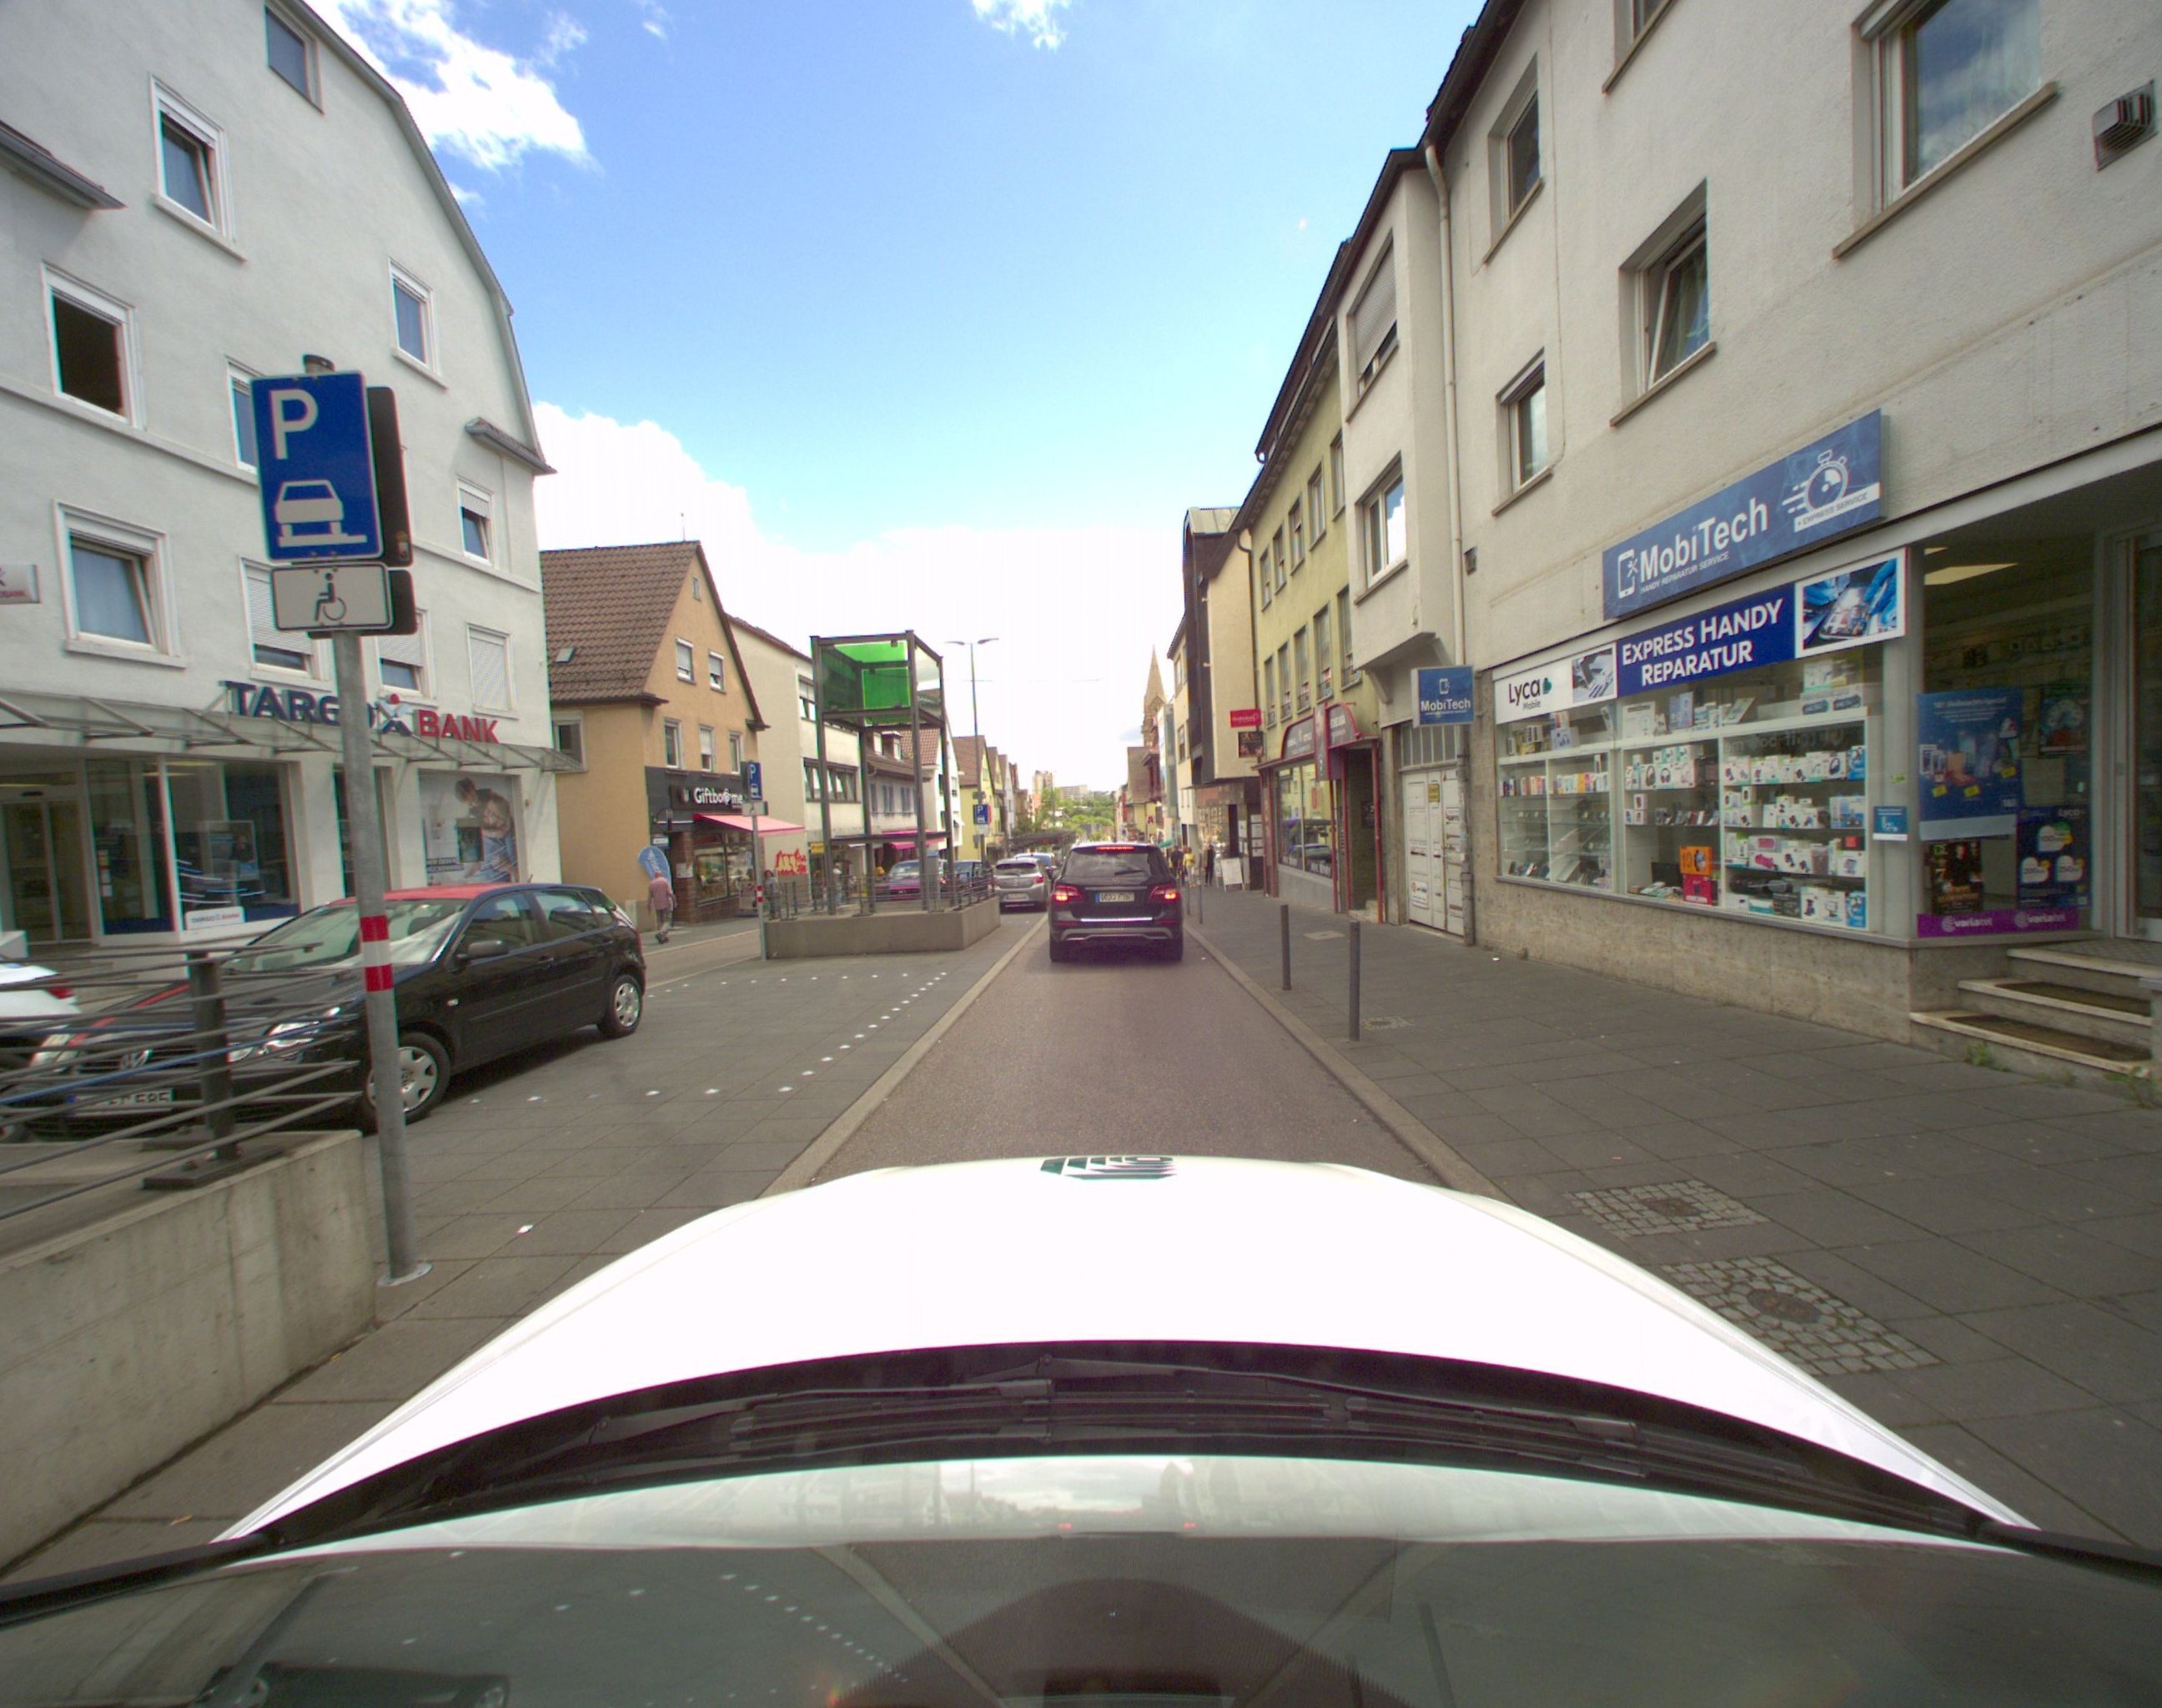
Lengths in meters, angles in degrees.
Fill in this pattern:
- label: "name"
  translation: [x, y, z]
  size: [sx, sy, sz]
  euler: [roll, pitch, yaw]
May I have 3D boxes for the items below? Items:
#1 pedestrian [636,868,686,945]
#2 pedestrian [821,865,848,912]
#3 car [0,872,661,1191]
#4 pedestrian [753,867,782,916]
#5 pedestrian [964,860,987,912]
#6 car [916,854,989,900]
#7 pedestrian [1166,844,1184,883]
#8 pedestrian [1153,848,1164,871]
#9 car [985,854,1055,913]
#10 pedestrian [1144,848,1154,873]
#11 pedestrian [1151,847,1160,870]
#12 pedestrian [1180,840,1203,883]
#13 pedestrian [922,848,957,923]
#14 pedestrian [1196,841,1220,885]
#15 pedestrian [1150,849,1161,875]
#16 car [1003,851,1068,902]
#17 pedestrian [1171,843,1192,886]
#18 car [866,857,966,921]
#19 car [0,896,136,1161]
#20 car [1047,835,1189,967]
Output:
- label: "pedestrian"
  translation: [-9.611, 1.181, 18.644]
  size: [0.636, 1.689, 0.829]
  euler: [-2, 0, 6]
- label: "pedestrian"
  translation: [-9.088, 1.259, 30.053]
  size: [0.638, 1.689, 0.670]
  euler: [-2, -1, 41]
- label: "car"
  translation: [-4.865, 0.929, 6.006]
  size: [1.564, 1.475, 3.853]
  euler: [-2, 0, -1]
- label: "pedestrian"
  translation: [-10.389, 1.241, 27.045]
  size: [0.563, 1.573, 0.717]
  euler: [-4, 0, 1]
- label: "pedestrian"
  translation: [-3.014, 0.918, 23.262]
  size: [0.464, 1.431, 0.492]
  euler: [-4, 0, 1]
- label: "car"
  translation: [-4.525, 0.770, 29.179]
  size: [1.731, 1.475, 3.888]
  euler: [0, 1, 4]
- label: "pedestrian"
  translation: [4.322, 0.428, 37.460]
  size: [0.708, 1.753, 0.787]
  euler: [-2, 0, 1]
- label: "pedestrian"
  translation: [5.672, 0.390, 59.495]
  size: [0.572, 1.689, 0.565]
  euler: [-4, 0, -5]
- label: "car"
  translation: [-1.660, 0.788, 23.287]
  size: [1.614, 1.532, 3.671]
  euler: [-1, 0, 1]
- label: "pedestrian"
  translation: [4.878, 0.471, 58.104]
  size: [0.541, 1.726, 0.527]
  euler: [-3, 0, -5]
- label: "pedestrian"
  translation: [5.541, 0.310, 60.276]
  size: [0.572, 1.689, 0.565]
  euler: [-1, -1, -5]
- label: "pedestrian"
  translation: [4.386, 0.286, 32.464]
  size: [0.708, 1.631, 0.835]
  euler: [-4, 0, 1]
- label: "pedestrian"
  translation: [-3.238, 0.707, 18.717]
  size: [0.531, 1.672, 0.902]
  euler: [-2, 0, 4]
- label: "pedestrian"
  translation: [5.076, 0.340, 32.606]
  size: [0.662, 1.689, 0.542]
  euler: [-6, 0, -5]
- label: "pedestrian"
  translation: [4.793, 0.521, 52.271]
  size: [0.620, 1.689, 0.565]
  euler: [-1, -1, -5]
- label: "car"
  translation: [-1.534, 0.746, 29.007]
  size: [1.949, 1.639, 4.315]
  euler: [-1, 0, 1]
- label: "pedestrian"
  translation: [4.270, 0.434, 34.571]
  size: [0.708, 1.753, 0.785]
  euler: [-4, 0, 1]
- label: "car"
  translation: [-4.333, 0.869, 22.057]
  size: [1.732, 1.543, 4.194]
  euler: [-1, 0, 1]
- label: "car"
  translation: [-7.435, 1.082, 3.587]
  size: [1.673, 1.571, 4.123]
  euler: [-1, 0, 1]
- label: "car"
  translation: [0.491, 0.634, 12.888]
  size: [1.894, 1.747, 3.999]
  euler: [-1, 0, 0]
